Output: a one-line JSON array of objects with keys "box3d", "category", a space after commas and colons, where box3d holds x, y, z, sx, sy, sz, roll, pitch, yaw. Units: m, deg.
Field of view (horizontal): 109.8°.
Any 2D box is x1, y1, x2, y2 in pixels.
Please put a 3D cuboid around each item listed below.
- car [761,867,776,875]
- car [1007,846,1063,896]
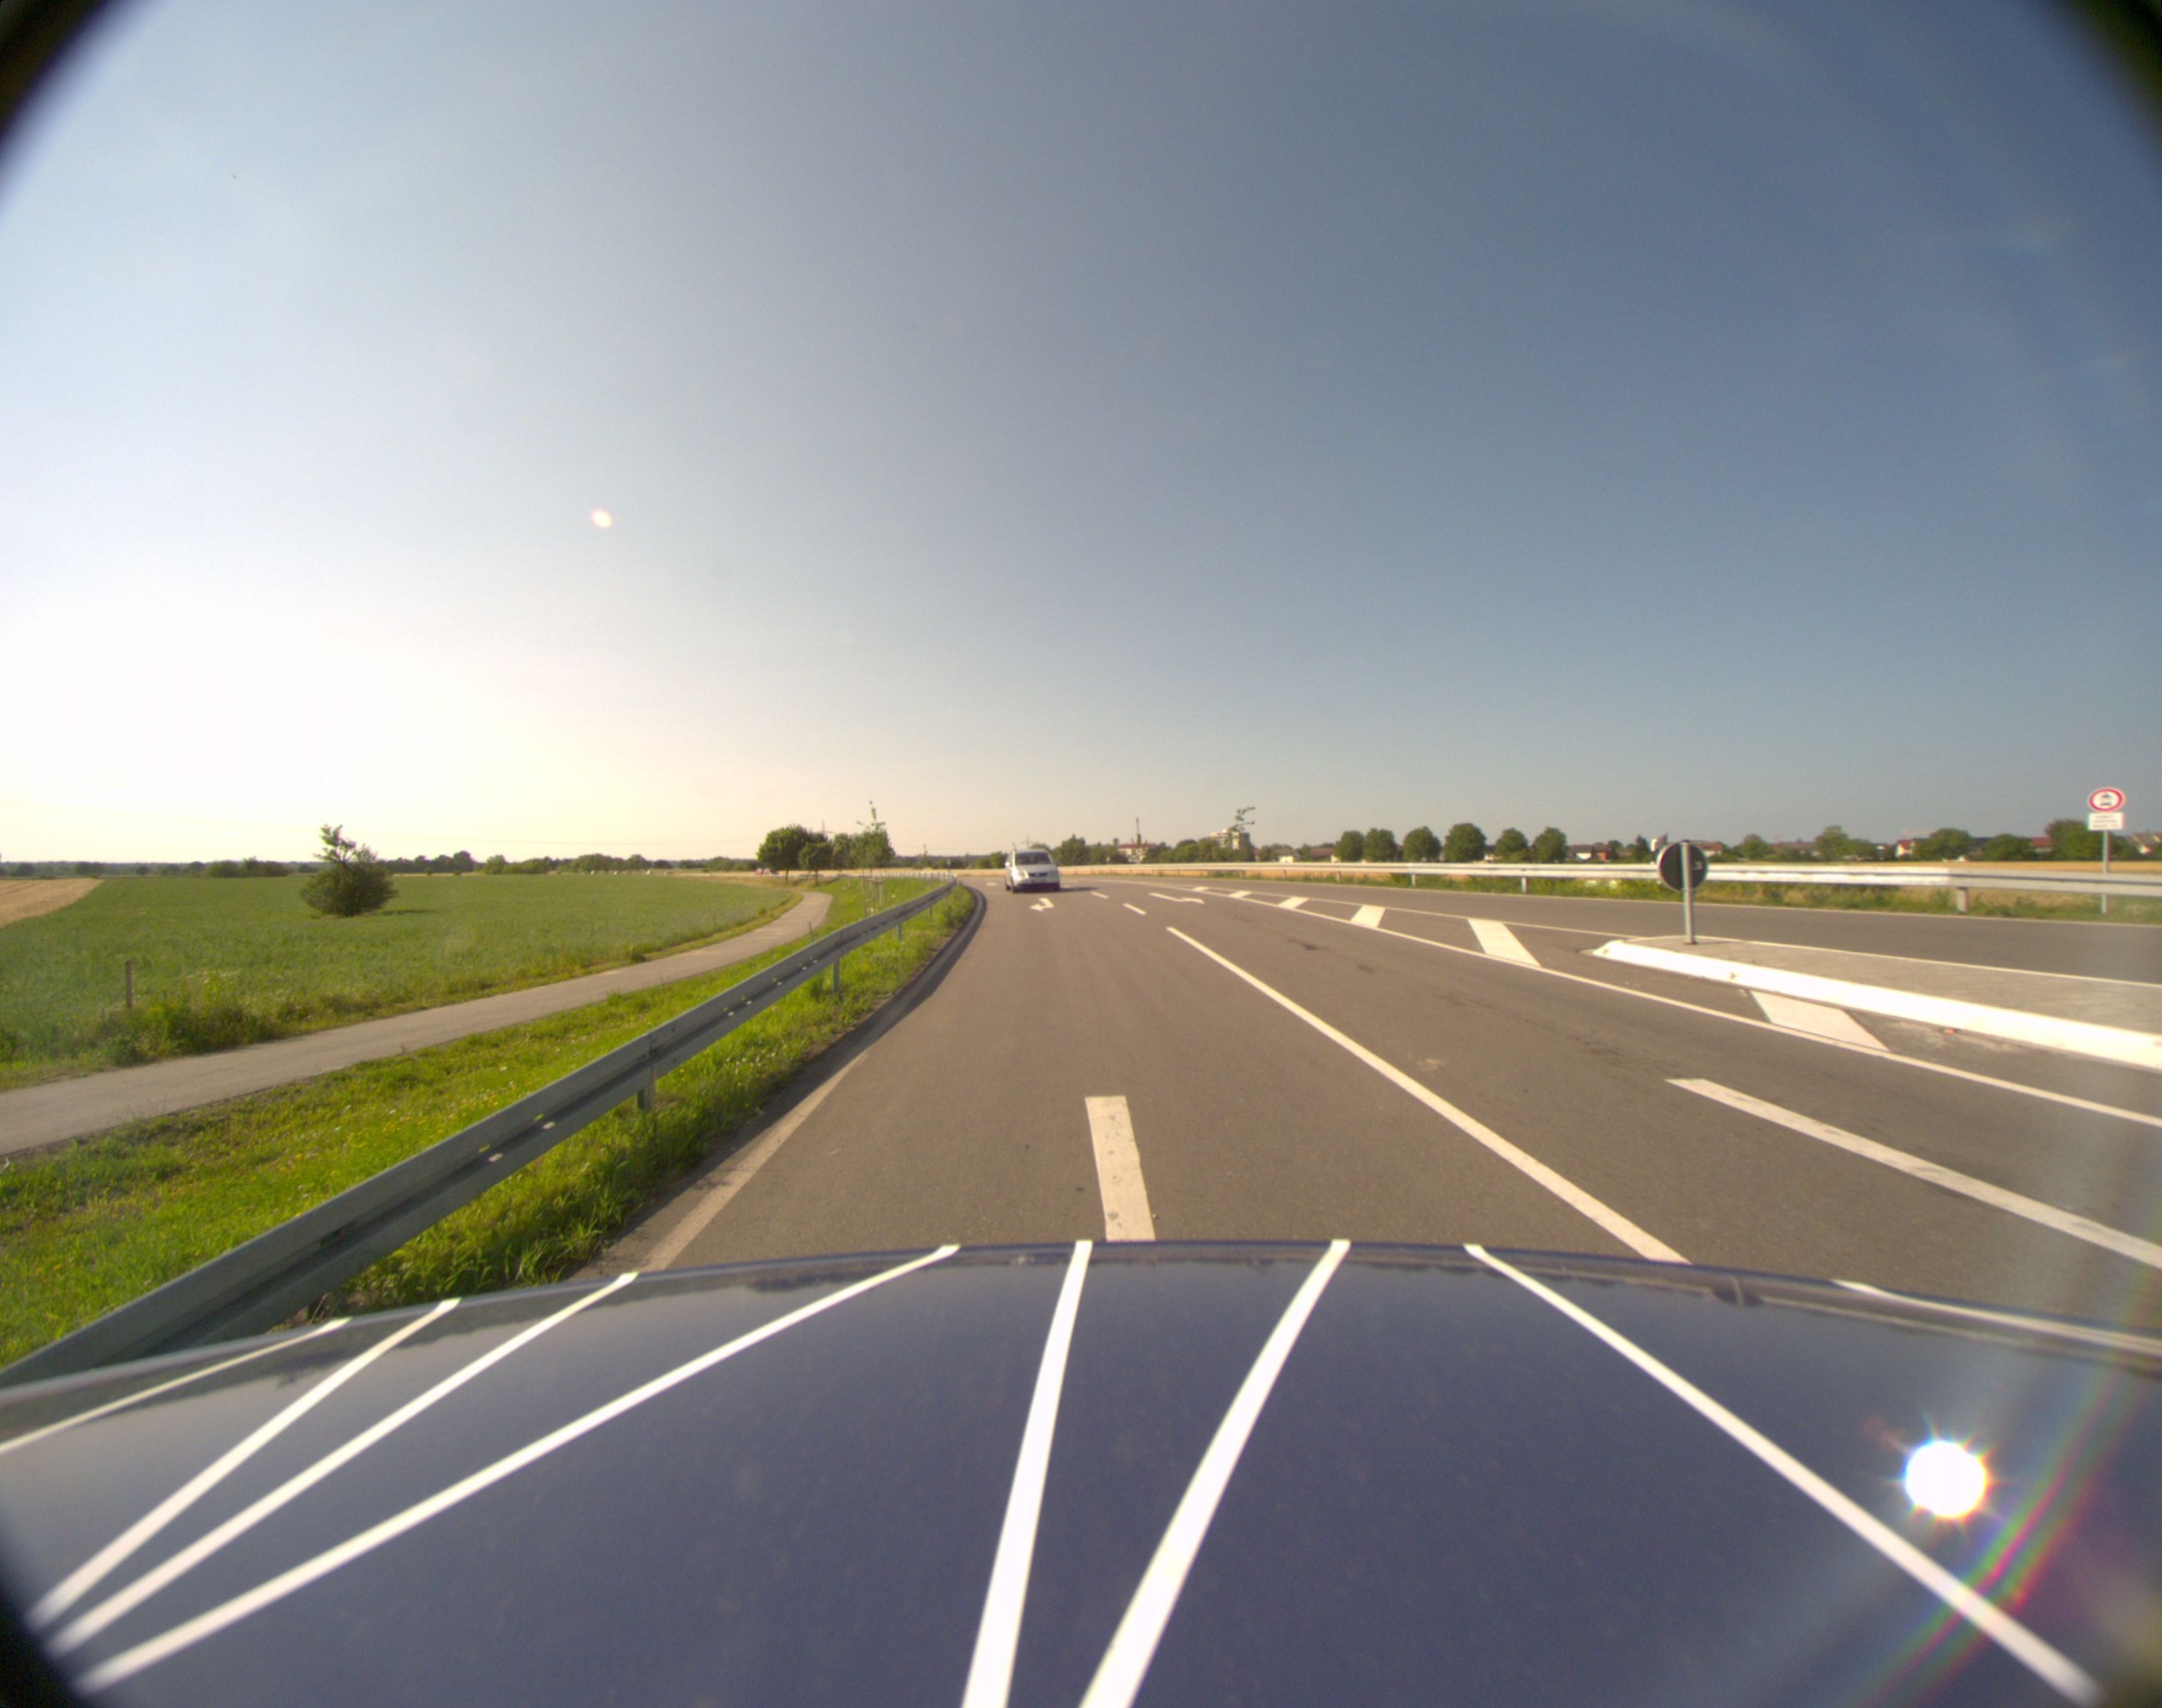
[{"box3d": [-65.971, 3.597, 160.530, 1.818, 1.663, 3.989, -3, 1, -39], "category": "car"}, {"box3d": [-1.852, 0.597, 29.357, 1.756, 1.685, 4.211, -2, 1, -9], "category": "car"}]
